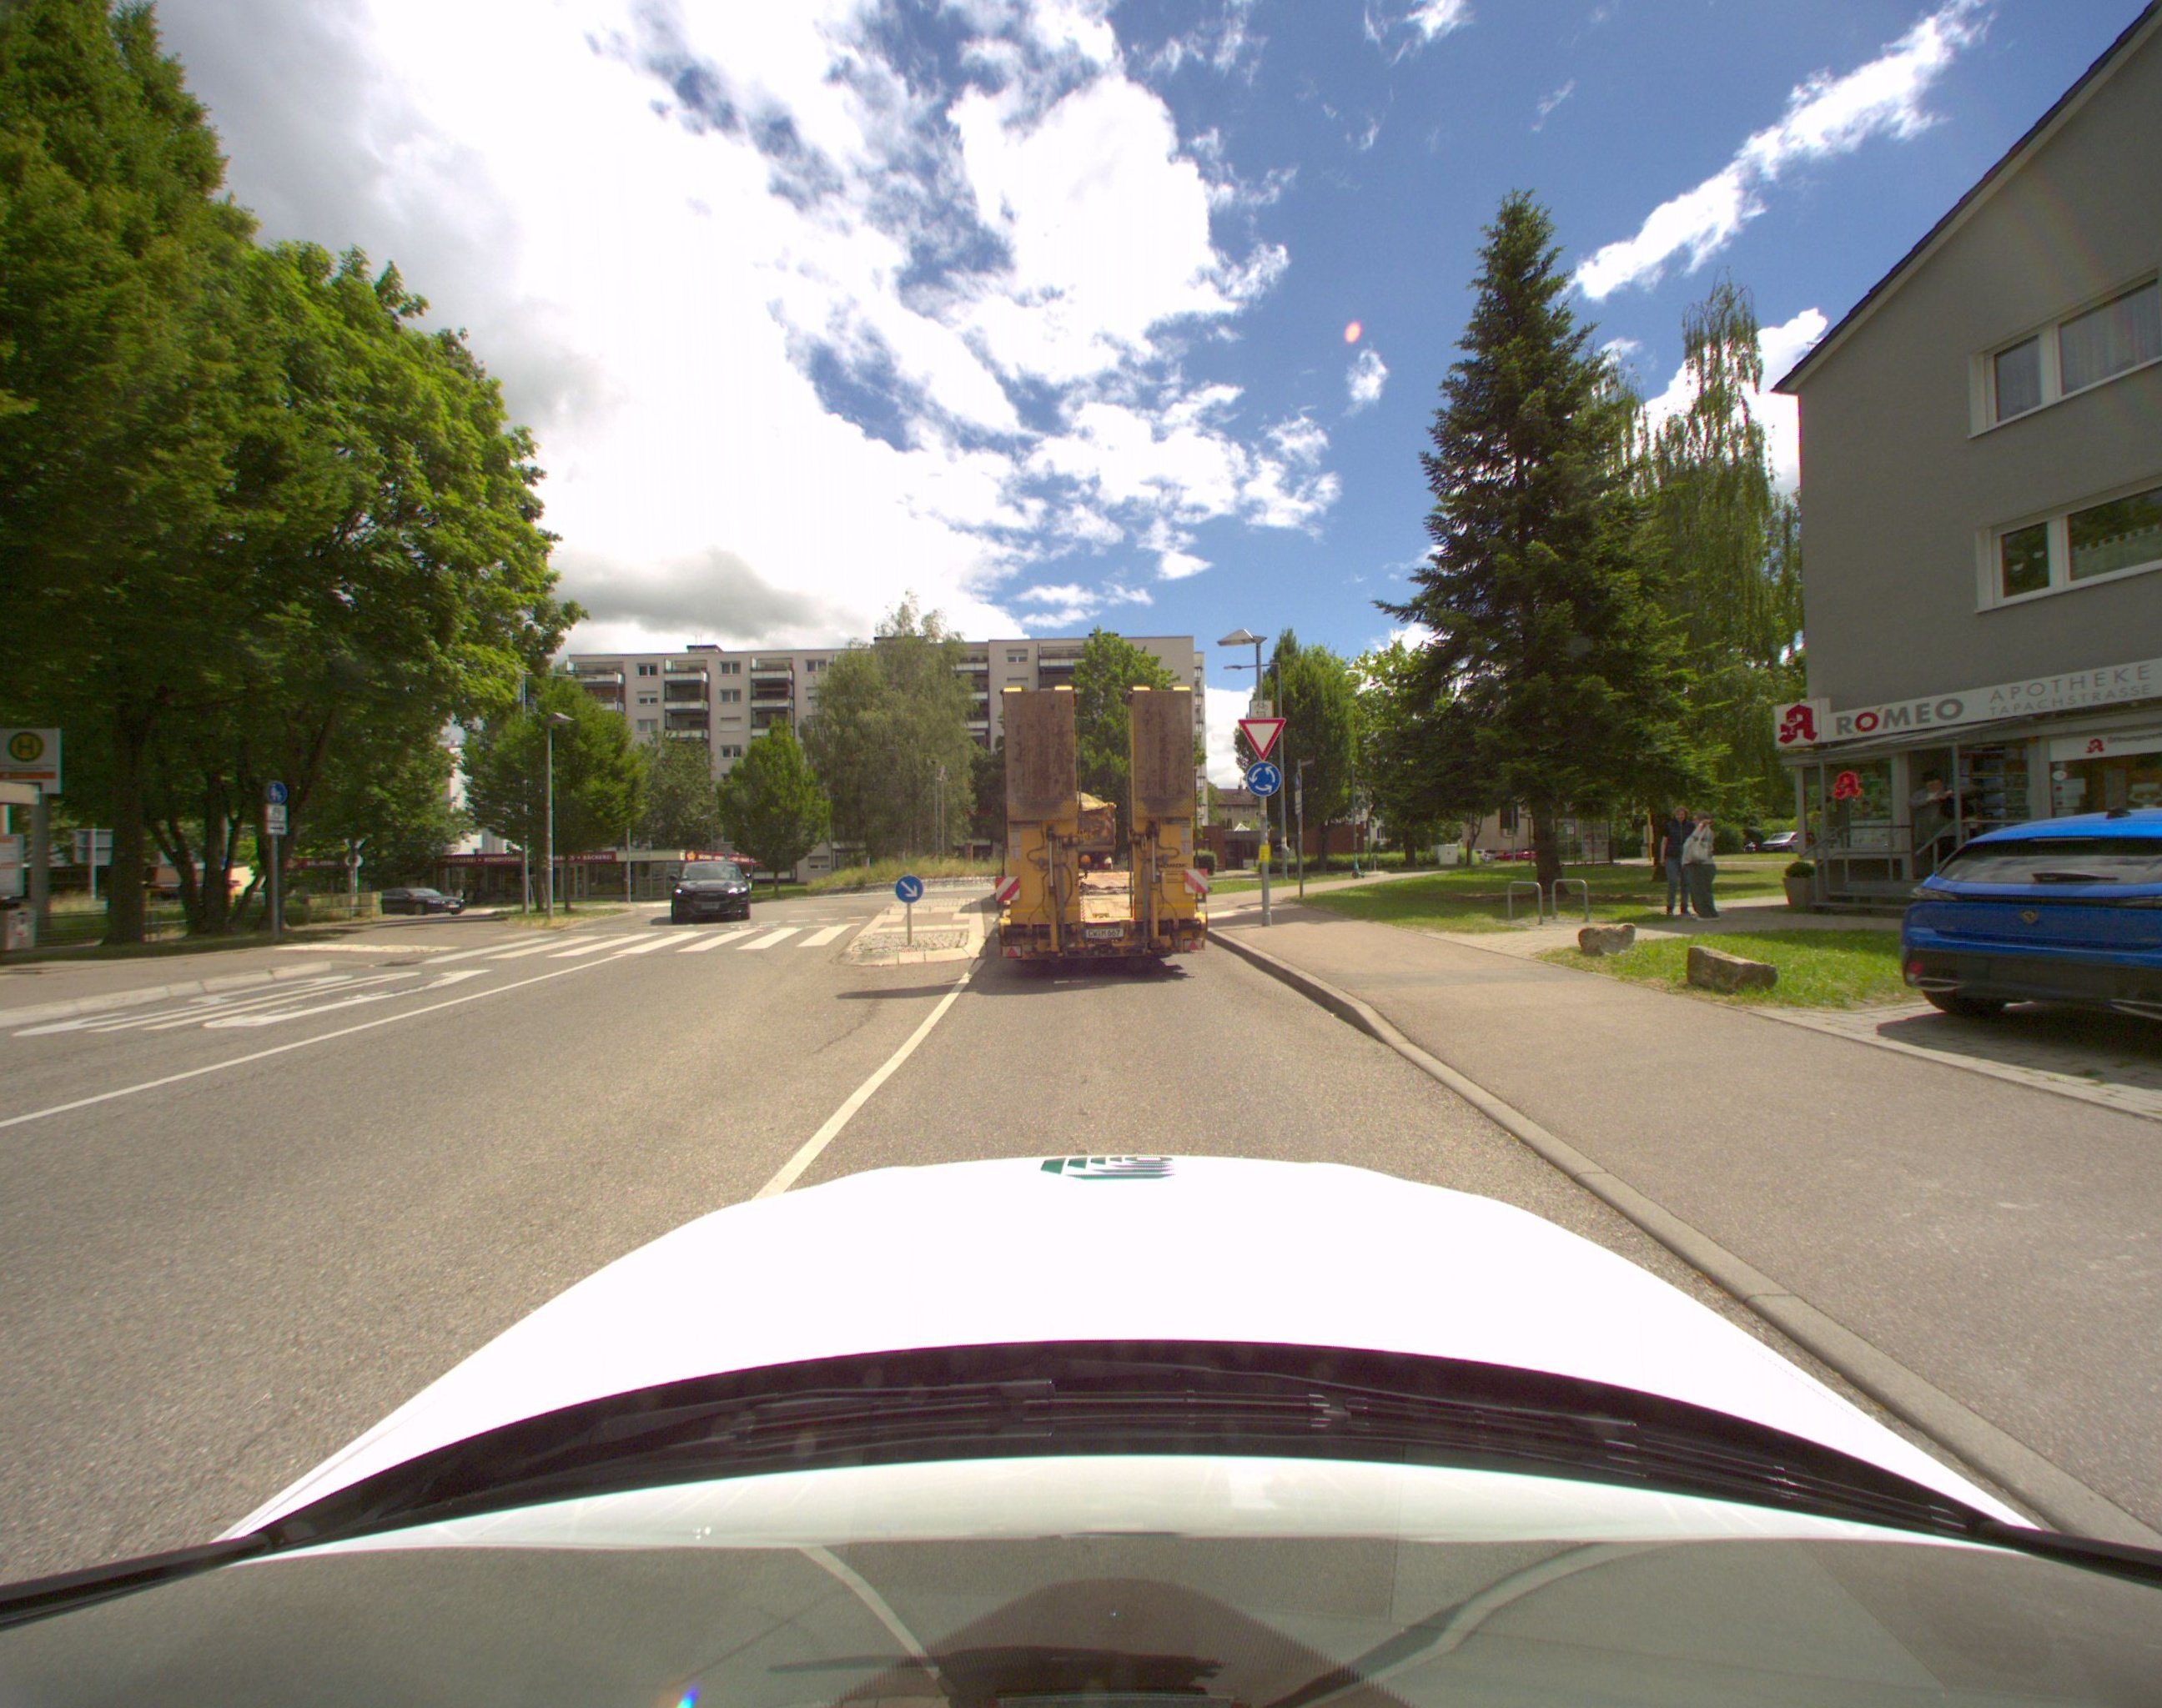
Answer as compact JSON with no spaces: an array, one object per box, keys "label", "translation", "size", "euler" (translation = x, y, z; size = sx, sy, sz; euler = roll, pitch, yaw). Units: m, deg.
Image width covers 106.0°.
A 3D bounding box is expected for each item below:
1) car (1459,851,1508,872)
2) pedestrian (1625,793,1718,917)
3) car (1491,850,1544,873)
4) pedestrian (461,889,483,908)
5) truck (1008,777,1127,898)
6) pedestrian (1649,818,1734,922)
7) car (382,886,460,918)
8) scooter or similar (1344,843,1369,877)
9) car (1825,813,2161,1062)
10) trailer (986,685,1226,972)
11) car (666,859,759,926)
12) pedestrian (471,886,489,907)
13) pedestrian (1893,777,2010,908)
[{"label":"car","translation":[38.009,0.715,77.052],"size":[1.997,1.941,3.979],"euler":[0,-1,-15]},{"label":"pedestrian","translation":[10.004,0.015,13.831],"size":[0.654,2.014,1.042],"euler":[-2,-1,-12]},{"label":"car","translation":[39.014,0.661,72.877],"size":[2.015,1.941,3.979],"euler":[0,-1,-15]},{"label":"pedestrian","translation":[-42.463,3.085,56.789],"size":[0.818,1.325,0.880],"euler":[0,-1,-1]},{"label":"truck","translation":[-0.530,-0.496,24.675],"size":[2.981,3.034,8.477],"euler":[0,1,-3]},{"label":"pedestrian","translation":[9.402,0.243,12.564],"size":[0.741,1.530,0.689],"euler":[-2,-1,-9]},{"label":"car","translation":[-31.993,2.294,39.451],"size":[4.558,1.383,1.835],"euler":[-3,-1,37]},{"label":"scooter or similar","translation":[11.385,0.229,33.596],"size":[0.480,1.343,1.397],"euler":[-3,0,37]},{"label":"car","translation":[8.008,0.375,5.637],"size":[4.488,1.243,1.991],"euler":[-4,0,-13]},{"label":"trailer","translation":[0.030,-0.328,15.063],"size":[2.857,3.372,10.829],"euler":[0,0,-3]},{"label":"car","translation":[-10.117,0.940,22.167],"size":[2.005,1.525,4.484],"euler":[-2,1,-28]},{"label":"pedestrian","translation":[-42.520,2.998,57.647],"size":[0.693,1.380,0.721],"euler":[-3,-1,6]},{"label":"pedestrian","translation":[13.588,-0.175,12.739],"size":[0.842,1.956,0.936],"euler":[-2,-1,-20]}]
